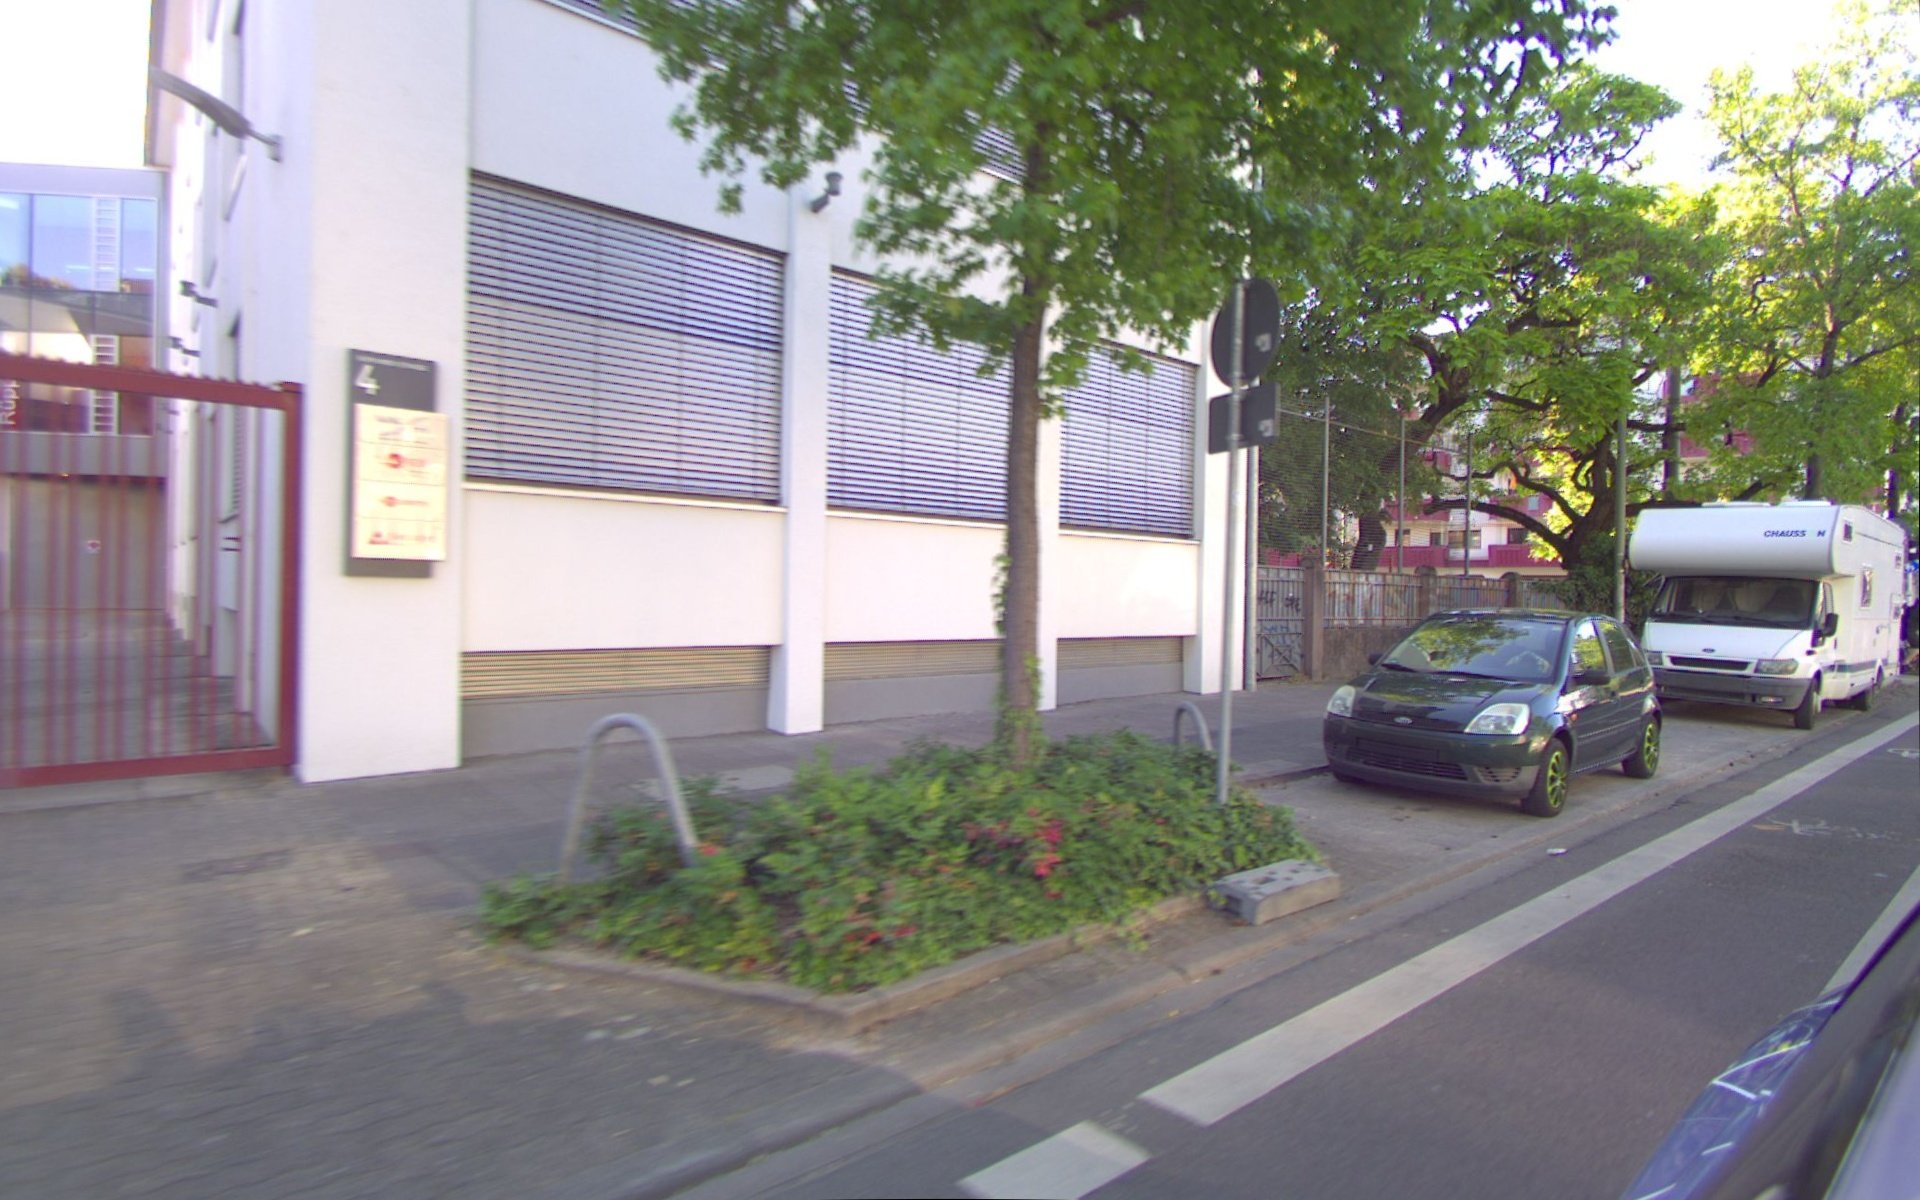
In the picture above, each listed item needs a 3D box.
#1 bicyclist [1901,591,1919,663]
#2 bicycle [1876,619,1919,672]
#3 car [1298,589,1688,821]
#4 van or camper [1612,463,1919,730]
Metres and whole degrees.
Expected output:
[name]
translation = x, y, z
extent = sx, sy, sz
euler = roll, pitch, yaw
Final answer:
[bicyclist]
translation = 21.687, 0.599, 22.425
extent = 0.995, 1.596, 0.755
euler = 0, 0, 20
[bicycle]
translation = 21.757, 1.015, 22.384
extent = 2.058, 1.142, 0.755
euler = 1, 0, 20
[car]
translation = 4.579, 0.690, 8.473
extent = 3.735, 1.465, 1.655
euler = 0, 2, -42
[van or camper]
translation = 12.261, -0.056, 14.927
extent = 7.156, 3.131, 2.173
euler = 1, 2, -38
